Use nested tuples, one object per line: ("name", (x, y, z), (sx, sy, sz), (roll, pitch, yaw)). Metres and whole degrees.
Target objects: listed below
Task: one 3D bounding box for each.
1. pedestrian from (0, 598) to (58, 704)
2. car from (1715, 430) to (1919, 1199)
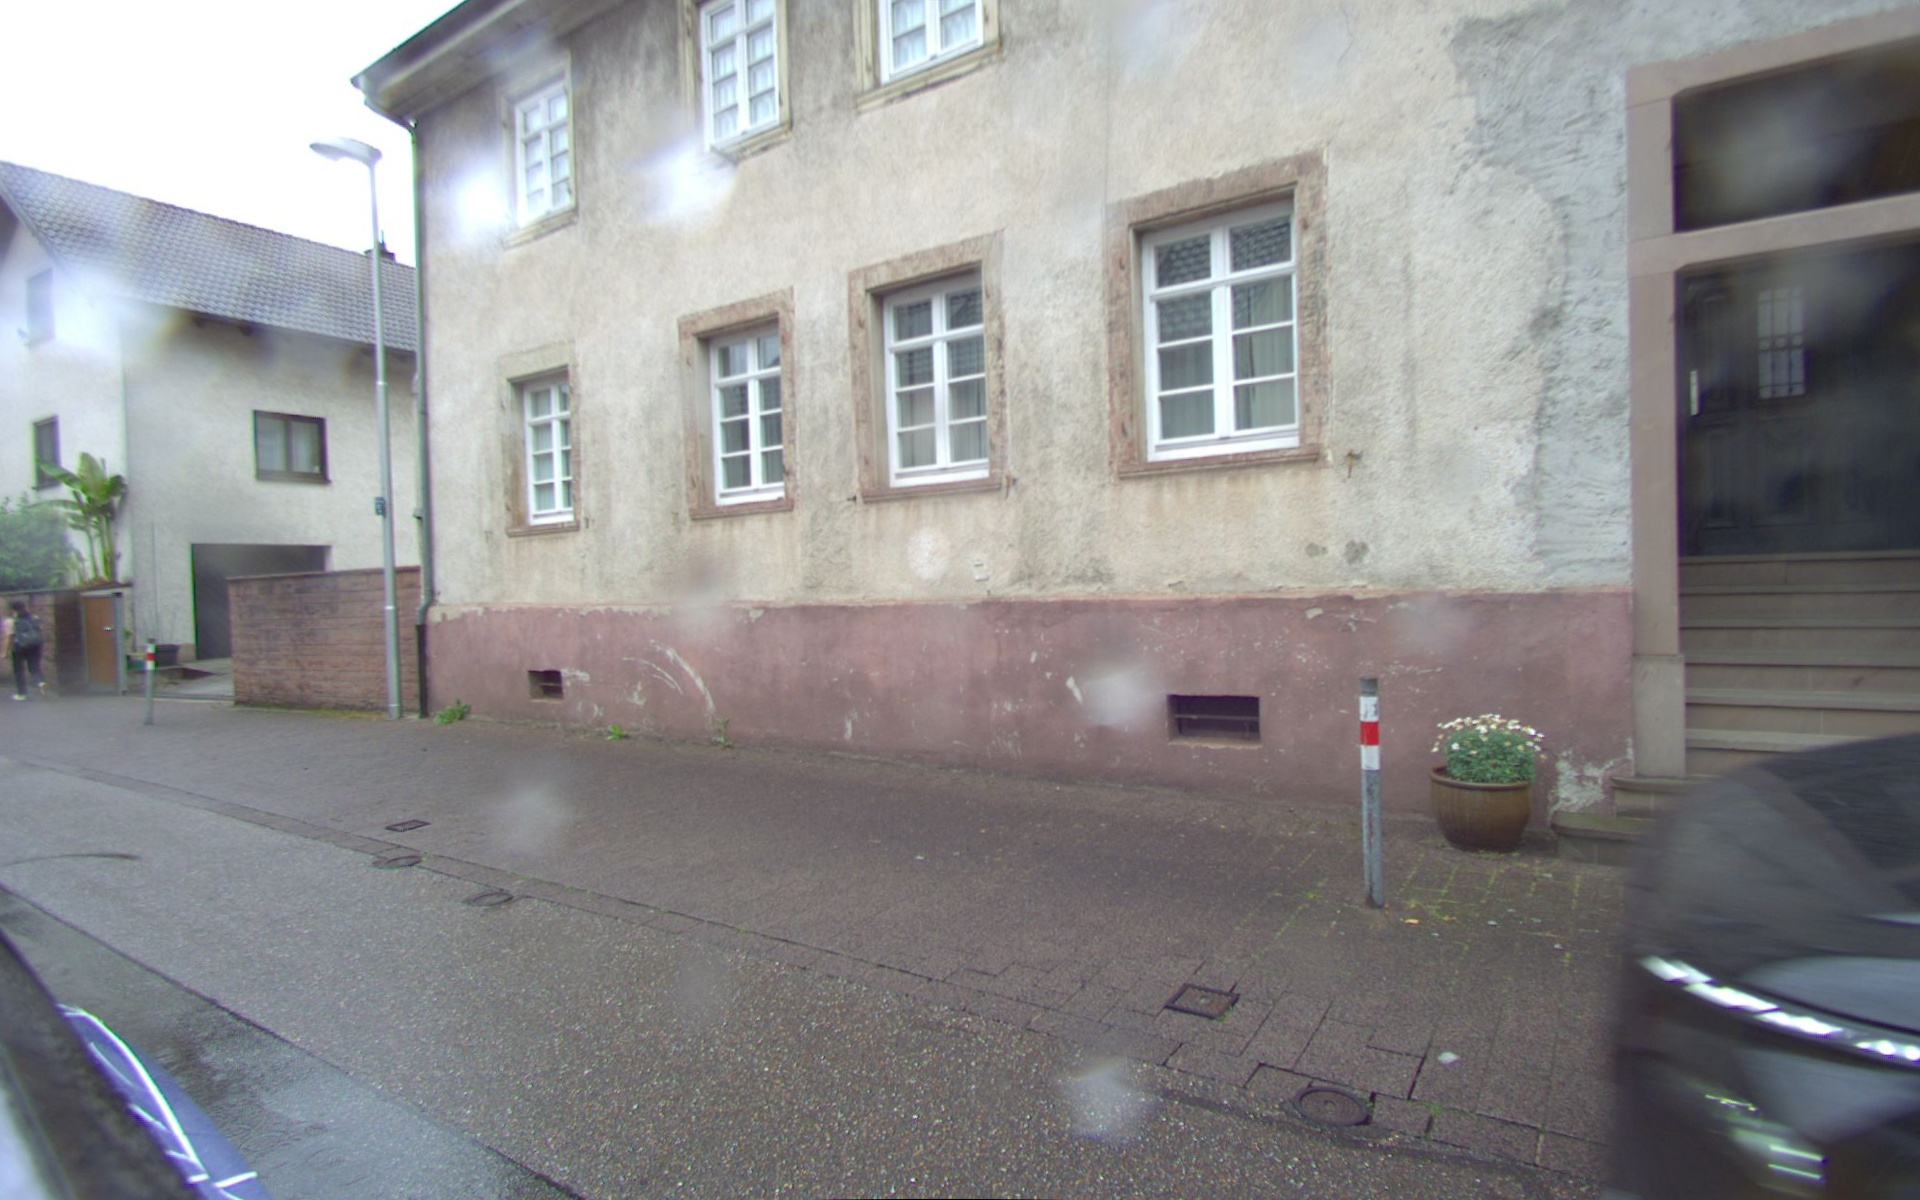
("pedestrian", (-14.501, 0.770, 15.595), (0.829, 1.549, 0.568), (-1, 3, 29))
("car", (3.214, 0.544, 0.702), (4.230, 1.567, 1.817), (-1, 1, 36))
